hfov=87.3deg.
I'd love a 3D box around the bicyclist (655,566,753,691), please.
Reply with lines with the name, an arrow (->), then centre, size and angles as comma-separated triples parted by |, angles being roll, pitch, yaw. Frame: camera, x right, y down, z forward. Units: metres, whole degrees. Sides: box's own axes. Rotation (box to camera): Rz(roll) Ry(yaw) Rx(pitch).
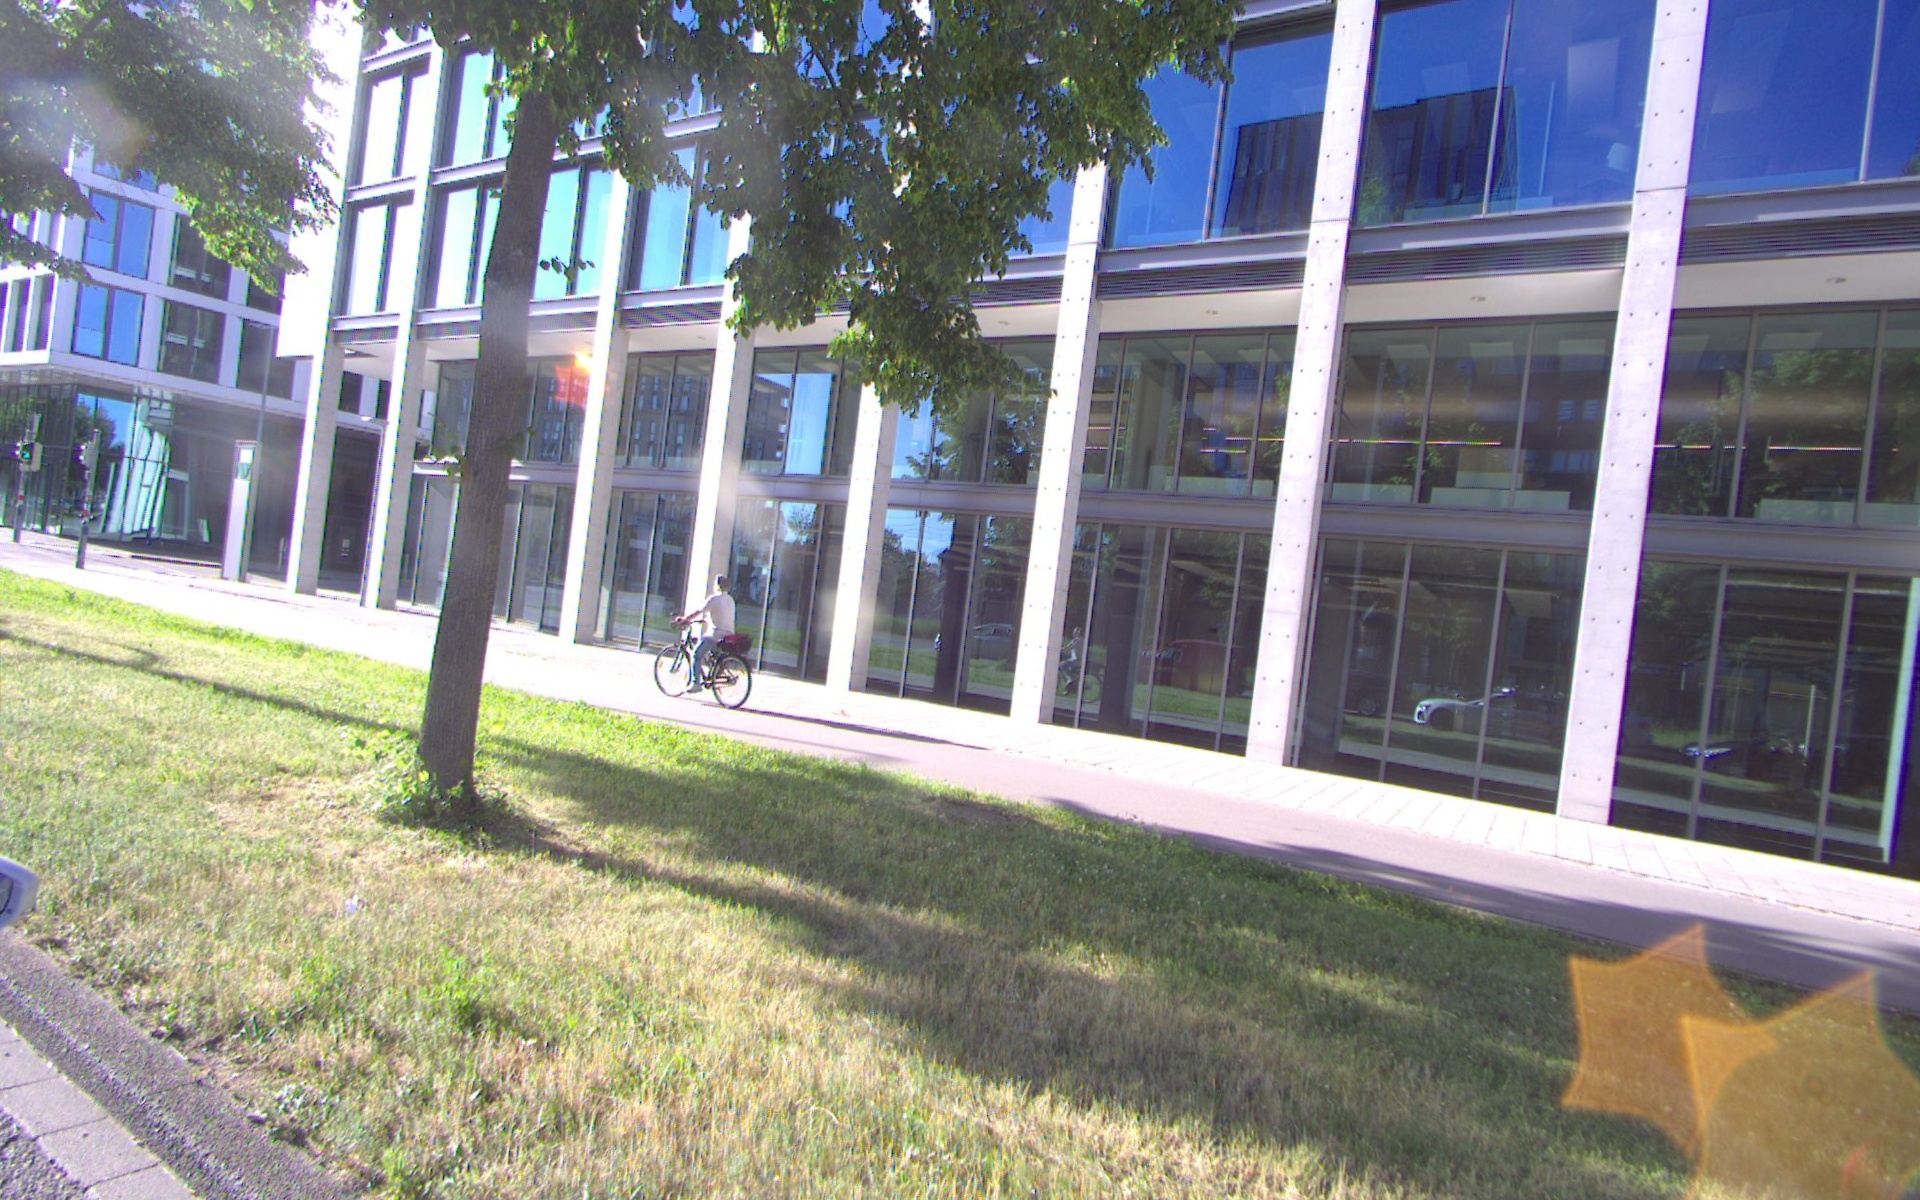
bicyclist -> -3.451, 0.391, 13.582 | 0.835, 1.550, 0.772 | 7, 0, 31

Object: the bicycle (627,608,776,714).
bicycle -> -3.509, 0.799, 13.585 | 1.929, 1.189, 0.742 | 6, 1, 32
